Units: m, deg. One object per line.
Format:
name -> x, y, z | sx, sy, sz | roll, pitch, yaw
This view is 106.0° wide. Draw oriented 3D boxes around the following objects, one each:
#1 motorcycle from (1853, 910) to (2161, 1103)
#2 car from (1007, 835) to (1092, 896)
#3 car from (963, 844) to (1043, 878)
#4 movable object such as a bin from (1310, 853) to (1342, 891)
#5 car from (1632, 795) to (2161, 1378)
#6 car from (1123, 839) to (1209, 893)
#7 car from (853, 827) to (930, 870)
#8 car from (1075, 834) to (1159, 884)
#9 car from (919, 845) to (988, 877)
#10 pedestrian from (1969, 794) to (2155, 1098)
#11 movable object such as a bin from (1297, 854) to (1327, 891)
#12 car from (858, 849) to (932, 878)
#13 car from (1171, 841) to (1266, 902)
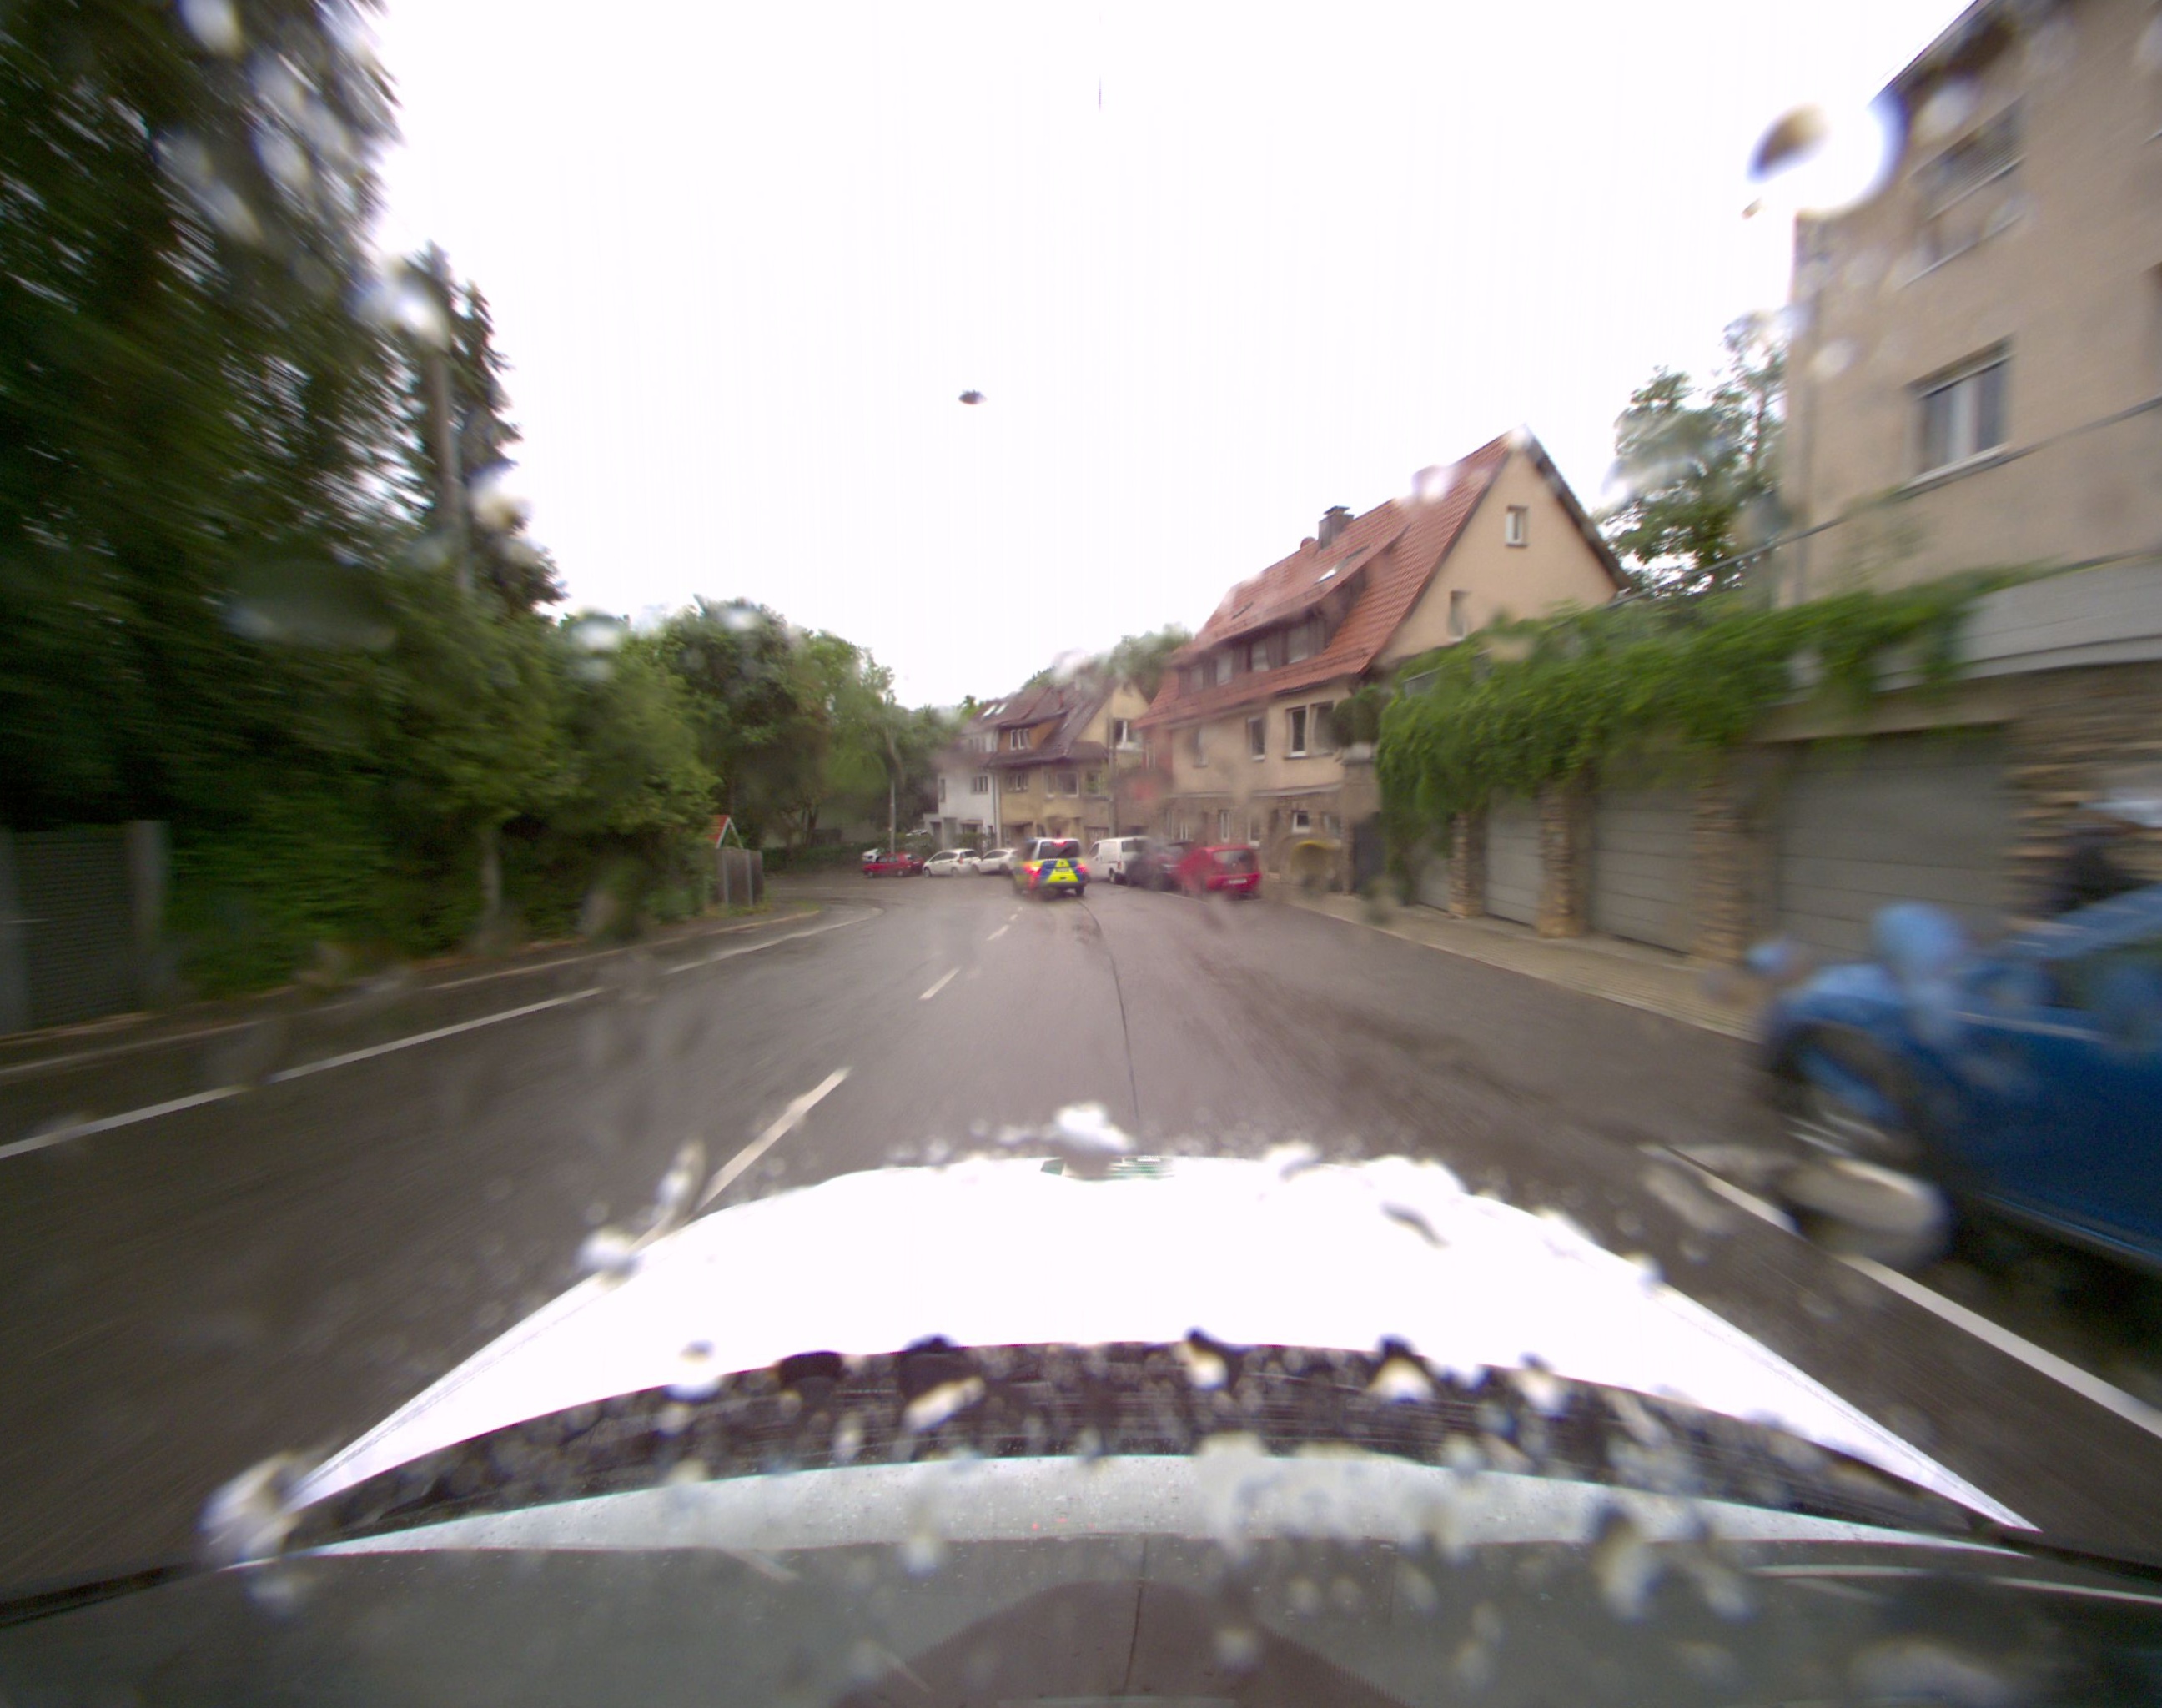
motorcycle -> 5.311, 0.794, 4.542 | 0.538, 0.856, 1.367 | 0, 0, -30
car -> -1.215, 0.427, 28.842 | 1.997, 1.893, 4.547 | -3, -1, -15
car -> -4.126, 0.405, 42.551 | 1.930, 1.538, 4.363 | -7, 3, -40
movable object such as a bin -> 6.588, 0.480, 21.907 | 0.595, 0.923, 0.513 | -5, 2, -5
car -> 3.798, 0.613, 2.209 | 1.728, 1.593, 4.254 | -2, 1, 0
car -> 2.874, 0.349, 28.482 | 1.616, 1.604, 4.394 | -5, 2, -12
car -> -12.882, -0.402, 55.378 | 4.426, 1.841, 1.981 | -16, 10, -29
car -> 1.398, 0.172, 33.470 | 1.712, 1.790, 4.295 | -6, 2, -21
car -> -7.224, 0.397, 45.927 | 3.775, 1.514, 1.782 | -3, 3, 44
pedestrian -> 5.827, 0.496, 4.849 | 0.623, 1.650, 0.608 | 0, 0, -31
movable object such as a bin -> 6.421, 0.507, 22.616 | 0.586, 0.923, 0.507 | -5, 2, -5
car -> -11.214, 0.575, 49.024 | 4.141, 1.367, 1.798 | -4, 3, 32
car -> 3.870, 0.434, 23.453 | 1.614, 1.435, 3.572 | -5, 2, -7
